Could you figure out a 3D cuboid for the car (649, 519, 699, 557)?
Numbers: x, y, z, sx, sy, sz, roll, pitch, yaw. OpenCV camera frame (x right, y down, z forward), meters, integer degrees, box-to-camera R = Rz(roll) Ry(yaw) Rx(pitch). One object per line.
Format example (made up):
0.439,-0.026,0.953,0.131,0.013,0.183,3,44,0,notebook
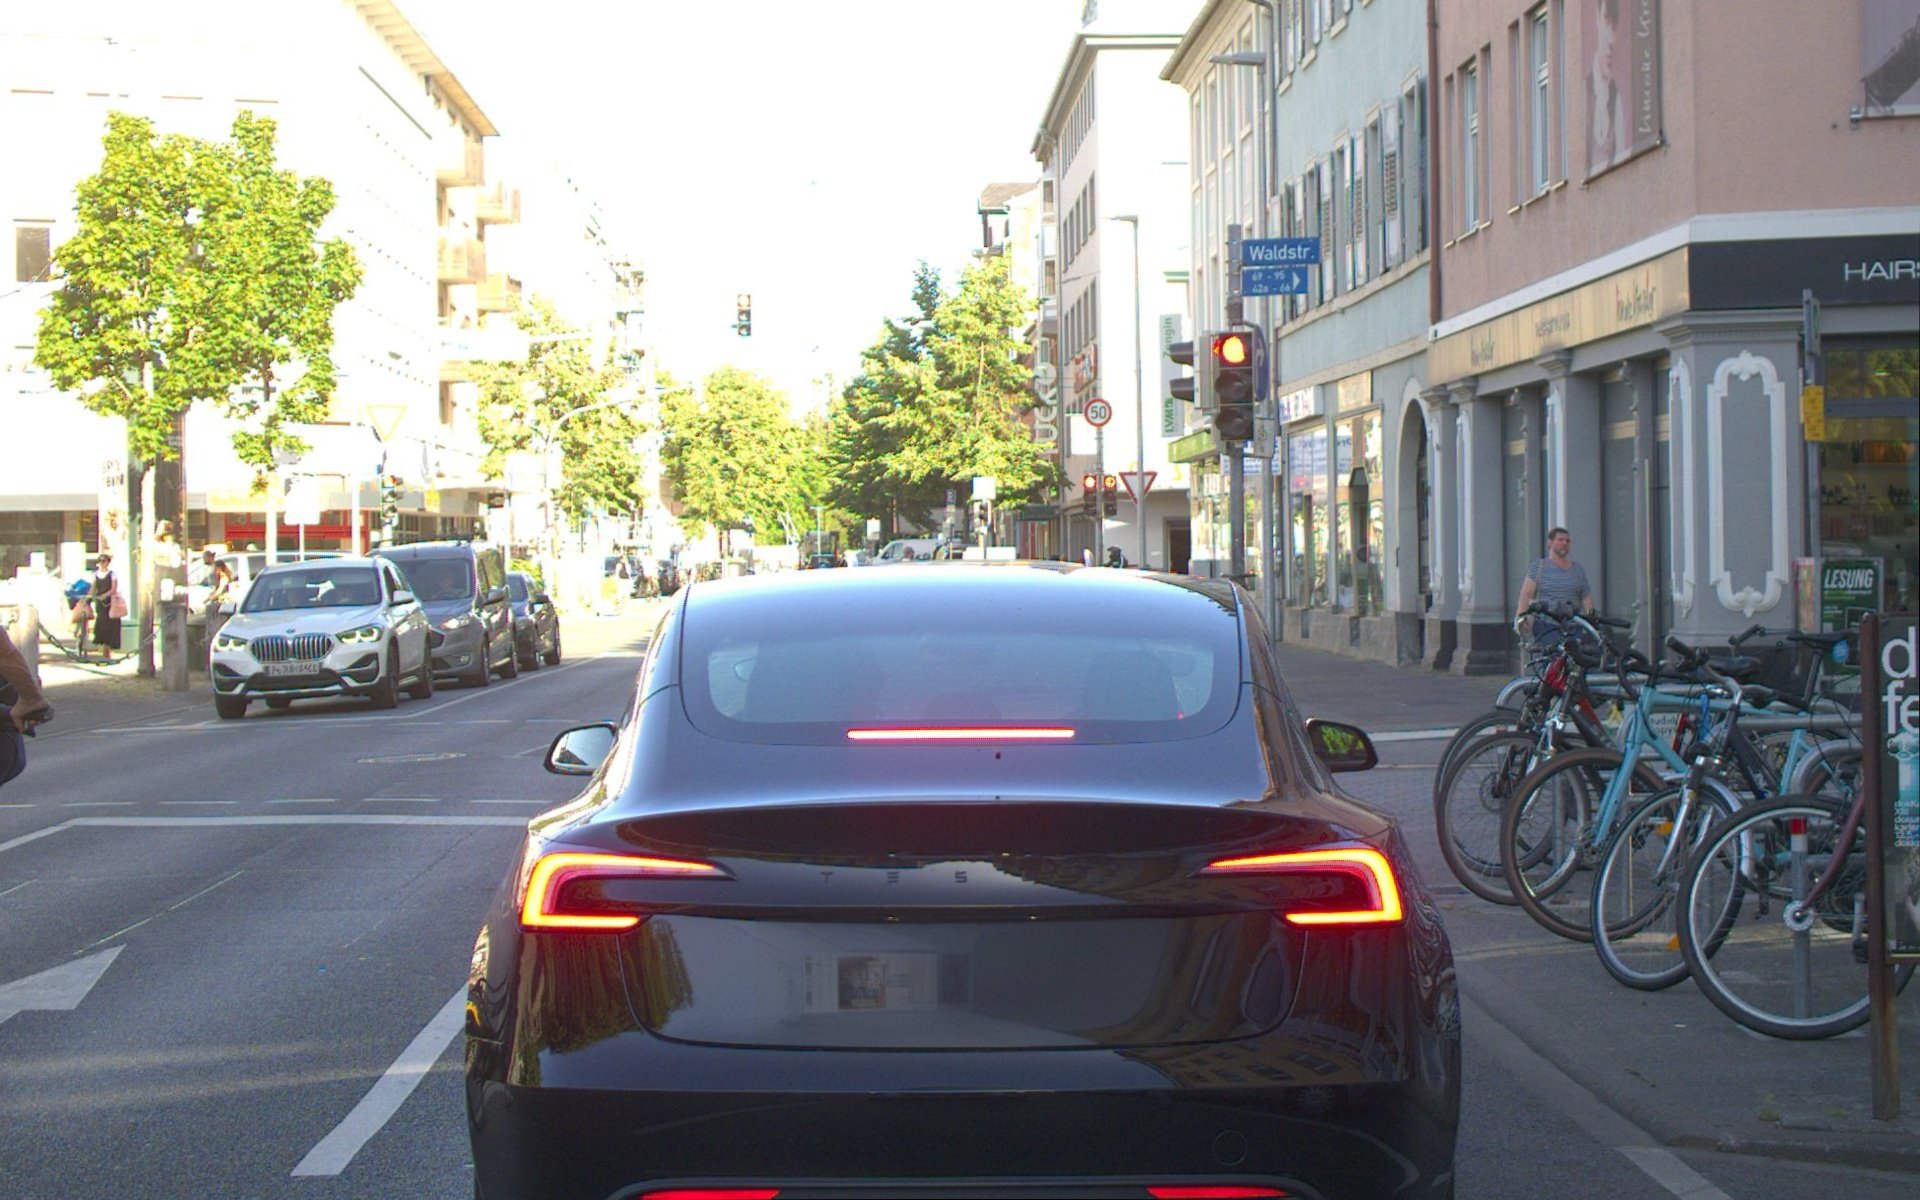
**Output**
-15.648,-3.366,188.261,2.275,2.007,4.717,1,1,1,car

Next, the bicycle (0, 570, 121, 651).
-14.694,0.159,54.545,2.542,1.247,0.943,1,0,-3,bicycle

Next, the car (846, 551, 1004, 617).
-0.969,-0.458,94.646,4.003,1.782,2.037,1,1,41,car

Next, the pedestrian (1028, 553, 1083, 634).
1.923,-0.131,69.216,0.806,1.604,0.709,0,1,-37,pedestrian

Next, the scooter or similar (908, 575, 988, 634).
-0.238,0.088,66.885,1.333,1.131,0.810,1,0,-24,scooter or similar

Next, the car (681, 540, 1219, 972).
-0.059,0.521,14.179,1.850,1.476,4.452,1,1,-1,car

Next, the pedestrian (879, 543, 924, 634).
-1.134,-0.226,66.402,0.658,1.754,0.654,1,0,-24,pedestrian

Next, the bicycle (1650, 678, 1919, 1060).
3.027,0.757,10.031,1.882,1.040,0.653,-1,1,1,bicycle

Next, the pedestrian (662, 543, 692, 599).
-9.527,-0.975,115.811,0.774,1.861,1.009,1,0,-17,pedestrian

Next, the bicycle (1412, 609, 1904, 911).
2.732,0.618,13.582,1.813,1.148,0.653,0,1,1,bicycle

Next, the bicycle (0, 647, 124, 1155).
-2.669,0.752,8.611,0.628,1.219,2.001,1,1,1,bicycle

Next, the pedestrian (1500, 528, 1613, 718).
4.920,0.185,28.396,0.789,1.544,0.724,1,0,0,pedestrian

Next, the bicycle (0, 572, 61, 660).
-14.488,0.213,49.845,2.662,1.255,0.943,1,0,-3,bicycle

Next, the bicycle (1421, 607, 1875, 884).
2.923,0.610,14.717,1.813,1.148,0.653,0,1,1,bicycle

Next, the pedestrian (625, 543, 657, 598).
-11.006,-1.025,118.724,0.695,1.861,0.909,1,1,-36,pedestrian

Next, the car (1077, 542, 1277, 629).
4.709,-0.328,74.656,3.992,1.861,1.698,0,1,-21,car

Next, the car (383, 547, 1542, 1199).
-0.023,0.626,7.754,1.850,1.442,4.452,1,1,-1,car

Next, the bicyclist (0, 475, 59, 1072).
-2.676,0.427,8.521,0.606,1.479,0.958,1,0,1,bicyclist

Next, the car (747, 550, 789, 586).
-10.442,-1.751,187.114,2.132,1.963,4.134,0,1,-1,car

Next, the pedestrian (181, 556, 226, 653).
-13.857,0.078,62.984,0.658,1.754,0.654,1,0,-26,pedestrian

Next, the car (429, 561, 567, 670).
-6.653,0.201,49.777,1.461,1.425,3.606,-4,1,-1,car

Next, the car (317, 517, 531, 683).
-6.572,-0.039,42.644,1.945,1.940,4.820,0,1,-1,car

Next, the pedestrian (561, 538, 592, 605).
-10.832,-0.805,97.101,0.732,1.861,0.791,1,0,-17,pedestrian

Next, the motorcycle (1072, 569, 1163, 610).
4.040,-0.270,88.133,2.378,1.032,0.783,0,1,-37,motorcycle

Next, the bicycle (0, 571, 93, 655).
-14.533,0.186,52.121,2.542,1.247,0.943,1,0,-3,bicycle

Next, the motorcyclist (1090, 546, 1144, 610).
4.031,-0.560,88.132,1.110,1.627,0.776,0,1,-38,motorcyclist

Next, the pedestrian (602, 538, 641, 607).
-9.311,-0.759,94.645,0.734,1.861,0.789,1,0,28,pedestrian

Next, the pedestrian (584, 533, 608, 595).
-10.995,-1.080,103.859,0.695,1.861,0.659,1,0,-5,pedestrian

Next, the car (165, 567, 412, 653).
-15.109,0.208,77.369,5.195,1.860,1.884,0,1,-22,car

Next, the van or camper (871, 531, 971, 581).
-1.900,-2.142,167.529,4.850,2.430,1.851,0,1,-1,van or camper

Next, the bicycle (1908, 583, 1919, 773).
6.955,0.434,20.508,2.390,1.147,0.712,-2,0,6,bicycle

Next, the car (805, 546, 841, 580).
-7.518,-2.019,188.840,1.892,1.807,3.925,1,1,-2,car

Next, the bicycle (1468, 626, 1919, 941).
2.801,0.654,12.509,1.813,1.098,0.653,0,1,1,bicycle

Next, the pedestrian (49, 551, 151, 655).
-13.485,0.042,53.926,1.093,1.606,1.266,1,0,12,pedestrian

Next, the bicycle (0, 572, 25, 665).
-14.486,0.231,47.527,2.875,1.266,0.943,1,0,-3,bicycle

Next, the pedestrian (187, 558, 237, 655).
-13.572,0.115,62.376,0.844,1.754,0.707,1,0,-14,pedestrian

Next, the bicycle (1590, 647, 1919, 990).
3.001,0.690,11.102,1.813,1.056,0.653,0,1,1,bicycle

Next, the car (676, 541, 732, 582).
-12.394,-1.879,166.432,2.414,1.963,4.678,0,1,-1,car

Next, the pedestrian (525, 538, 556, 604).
-11.821,-0.817,96.908,0.732,1.861,0.791,1,0,-17,pedestrian

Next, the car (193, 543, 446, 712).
-6.687,0.251,36.320,1.825,1.559,4.301,-4,1,-1,car

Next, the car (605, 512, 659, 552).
-17.124,-3.546,179.622,2.275,2.007,4.717,1,1,1,car
